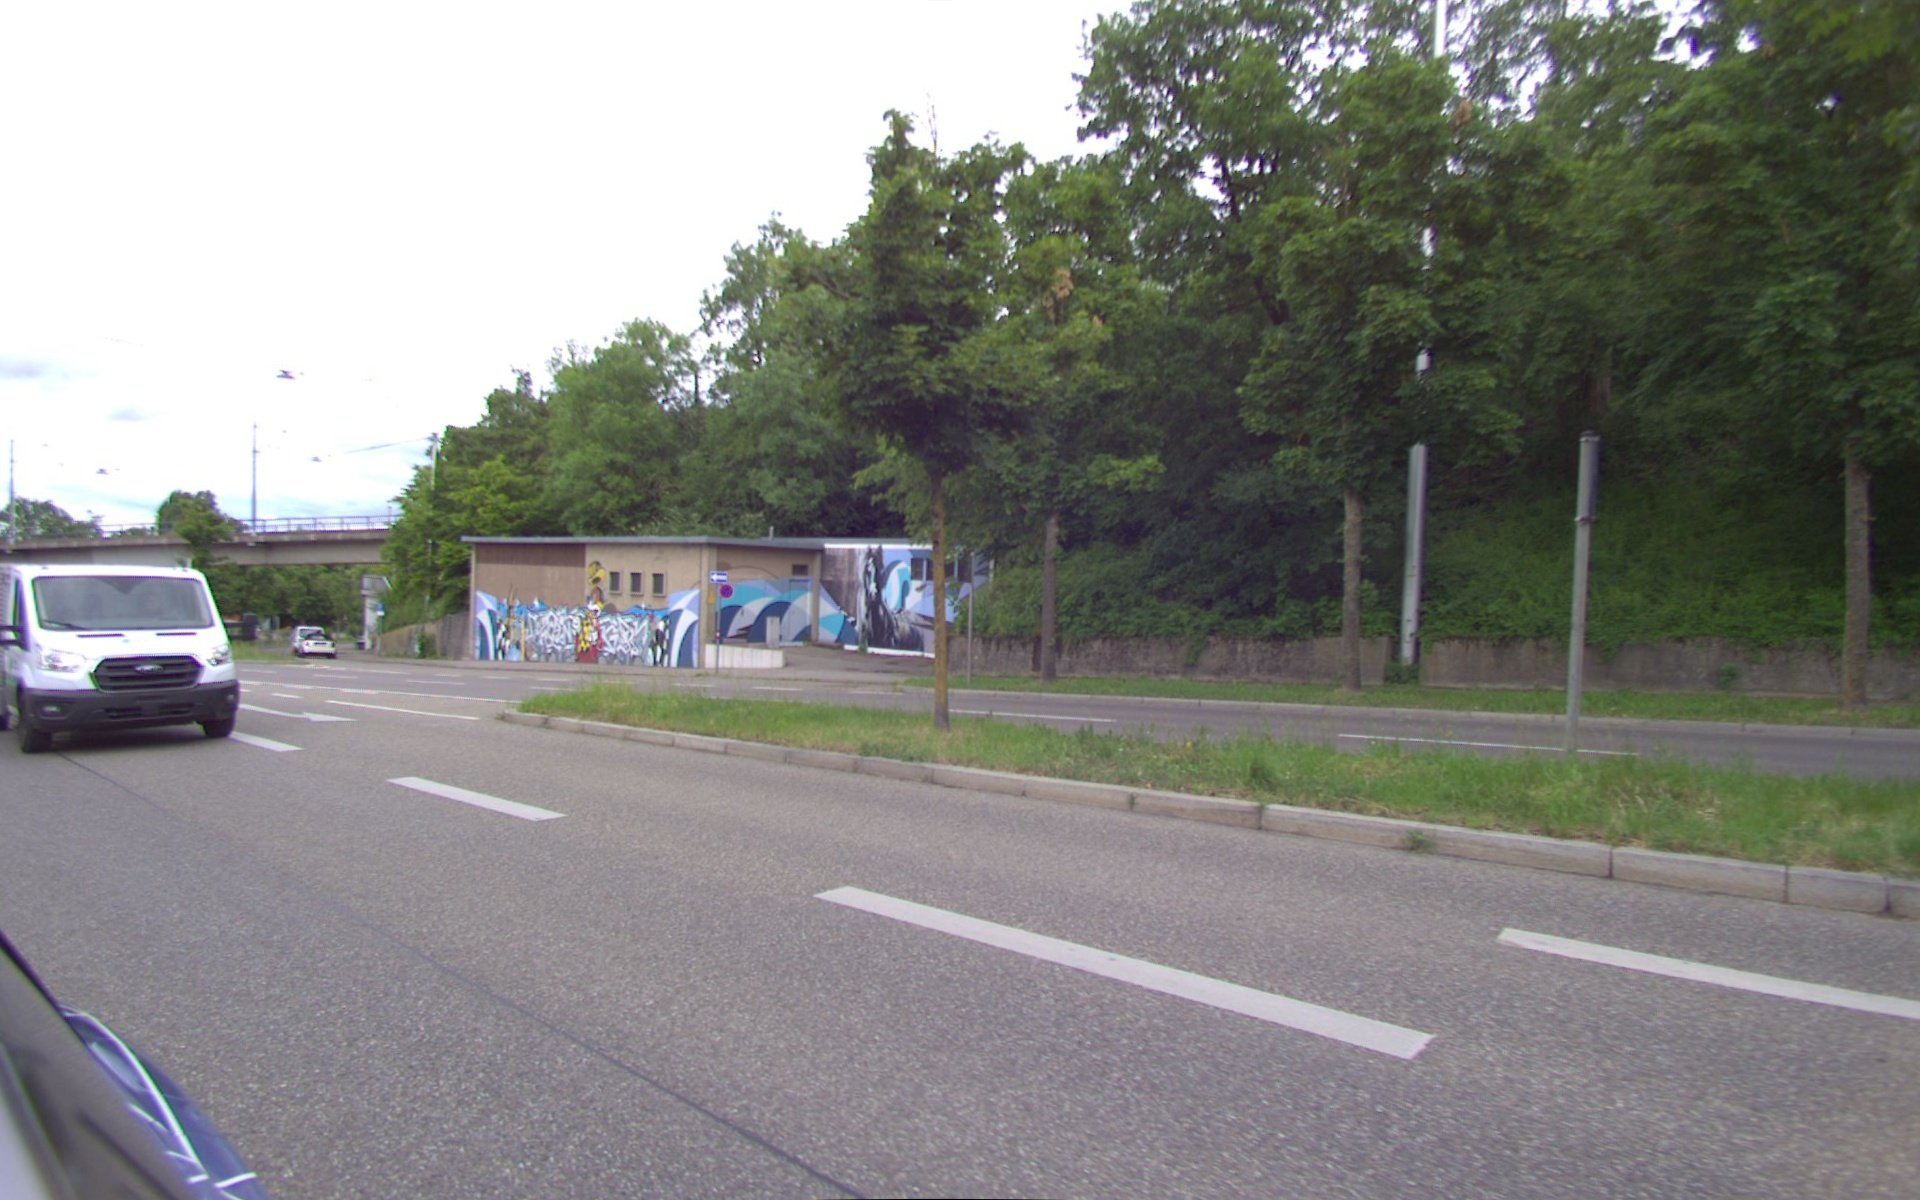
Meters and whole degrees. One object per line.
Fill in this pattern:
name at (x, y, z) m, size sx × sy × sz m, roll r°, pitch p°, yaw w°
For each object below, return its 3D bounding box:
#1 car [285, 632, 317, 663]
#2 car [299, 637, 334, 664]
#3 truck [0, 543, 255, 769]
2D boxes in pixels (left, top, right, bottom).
car at (-41.699, 2.959, 64.004) m, size 1.610 × 1.817 × 4.010 m, roll -2°, pitch 0°, yaw -34°
car at (-37.632, 2.940, 59.173) m, size 1.610 × 1.431 × 4.010 m, roll -2°, pitch 0°, yaw -34°
truck at (-11.489, 0.617, 13.273) m, size 6.325 × 2.339 × 2.055 m, roll -1°, pitch -1°, yaw 39°
